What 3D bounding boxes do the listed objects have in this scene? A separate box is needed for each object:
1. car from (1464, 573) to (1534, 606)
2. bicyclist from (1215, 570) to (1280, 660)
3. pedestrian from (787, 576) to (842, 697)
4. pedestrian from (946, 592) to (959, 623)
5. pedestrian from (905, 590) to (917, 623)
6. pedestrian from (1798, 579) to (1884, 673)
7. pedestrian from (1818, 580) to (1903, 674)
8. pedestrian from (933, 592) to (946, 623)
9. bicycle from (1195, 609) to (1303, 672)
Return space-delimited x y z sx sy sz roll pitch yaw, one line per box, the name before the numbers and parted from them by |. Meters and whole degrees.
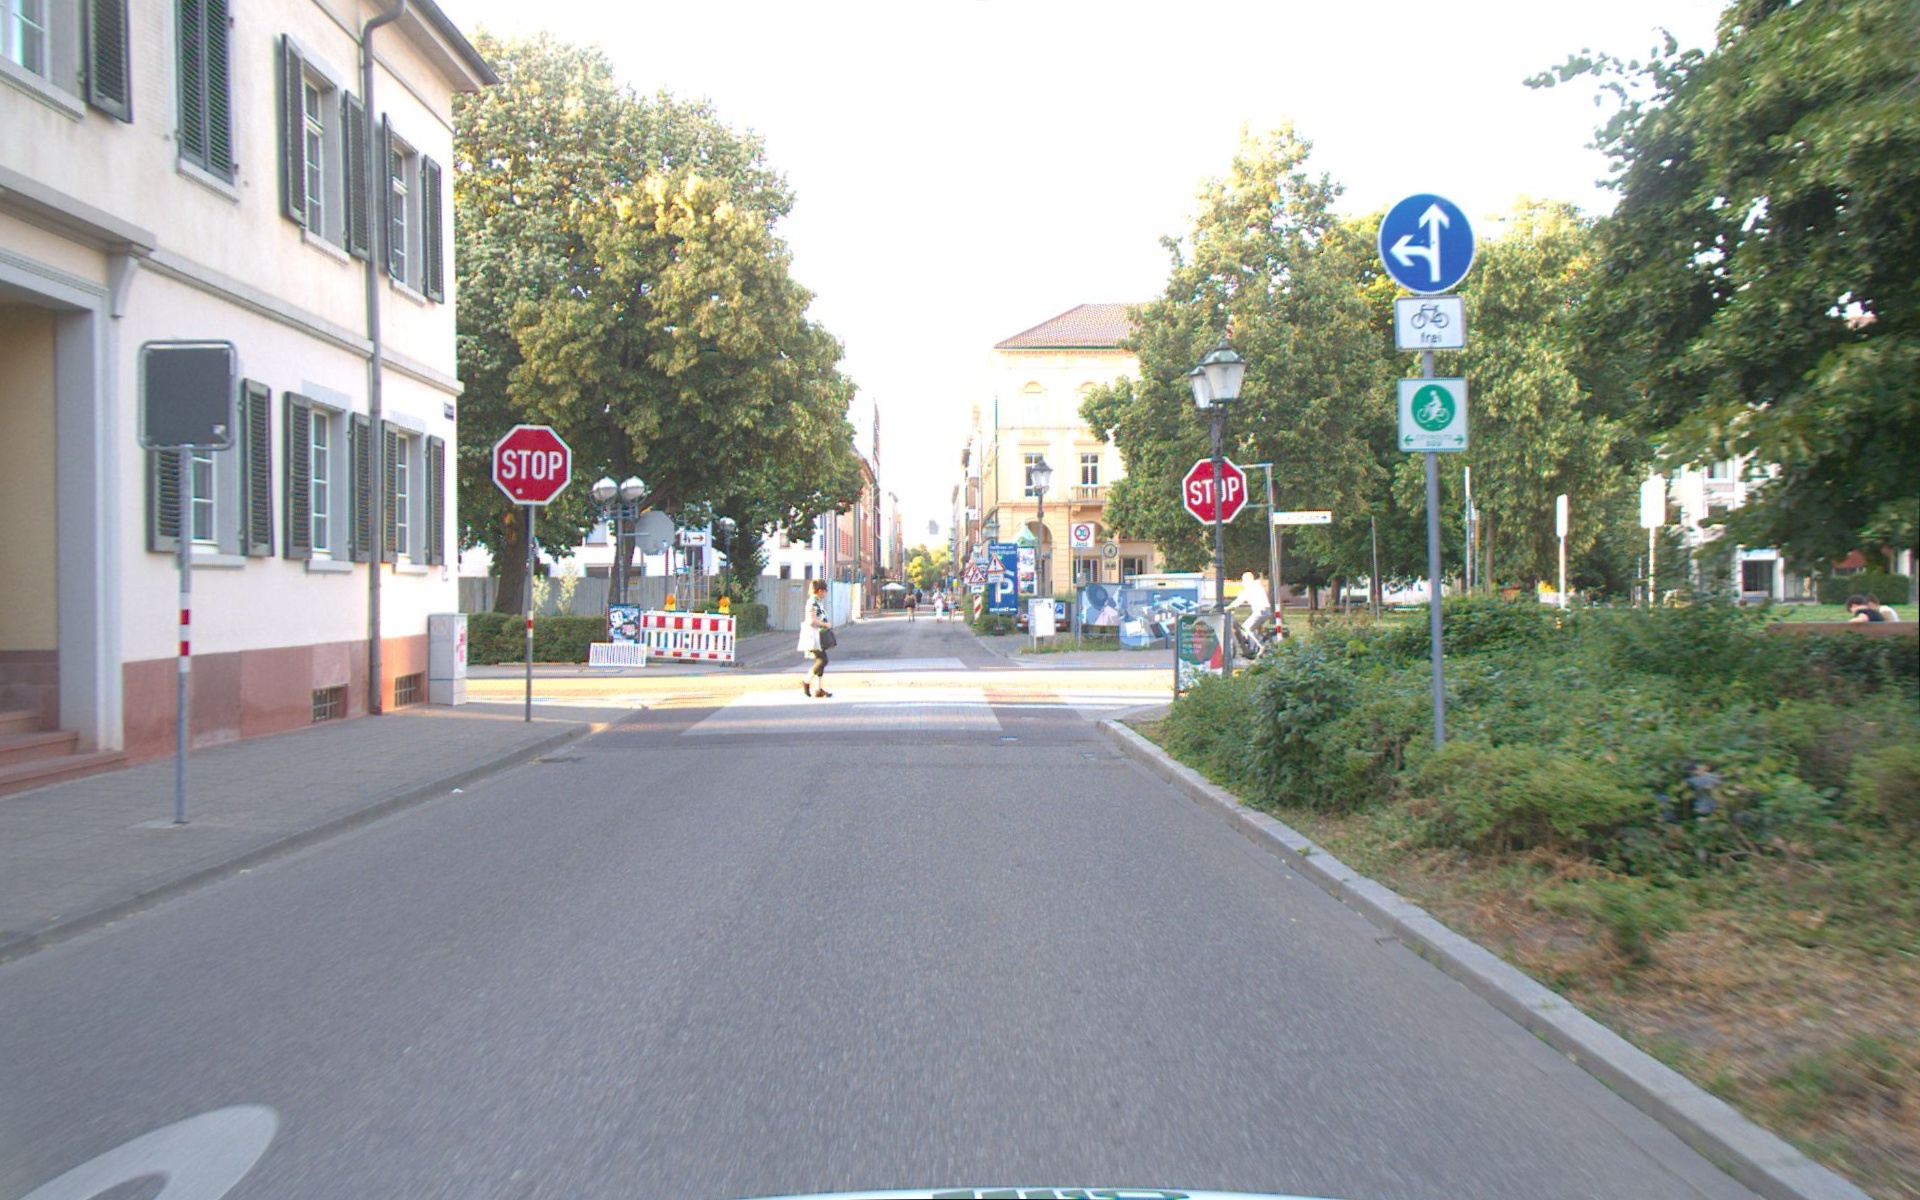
car | 35.165 -0.672 107.963 3.949 2.049 2.000 -1 0 0
bicyclist | 5.376 0.275 30.937 1.041 1.661 0.595 -1 0 -10
pedestrian | -2.105 0.523 24.017 0.719 1.719 0.836 -1 0 -2
pedestrian | -0.404 0.388 87.161 0.644 1.645 0.745 -1 0 -1
pedestrian | -2.620 0.346 88.584 0.644 1.790 0.745 -1 0 -1
pedestrian | 12.145 0.352 22.806 0.674 1.259 0.810 -1 0 -31
pedestrian | 12.641 0.369 23.234 0.590 1.283 0.864 -1 0 -32
pedestrian | -1.090 0.389 87.257 0.644 1.645 0.745 -1 0 -1
bicycle | 5.400 0.750 30.923 1.892 1.141 0.595 -1 0 -10
